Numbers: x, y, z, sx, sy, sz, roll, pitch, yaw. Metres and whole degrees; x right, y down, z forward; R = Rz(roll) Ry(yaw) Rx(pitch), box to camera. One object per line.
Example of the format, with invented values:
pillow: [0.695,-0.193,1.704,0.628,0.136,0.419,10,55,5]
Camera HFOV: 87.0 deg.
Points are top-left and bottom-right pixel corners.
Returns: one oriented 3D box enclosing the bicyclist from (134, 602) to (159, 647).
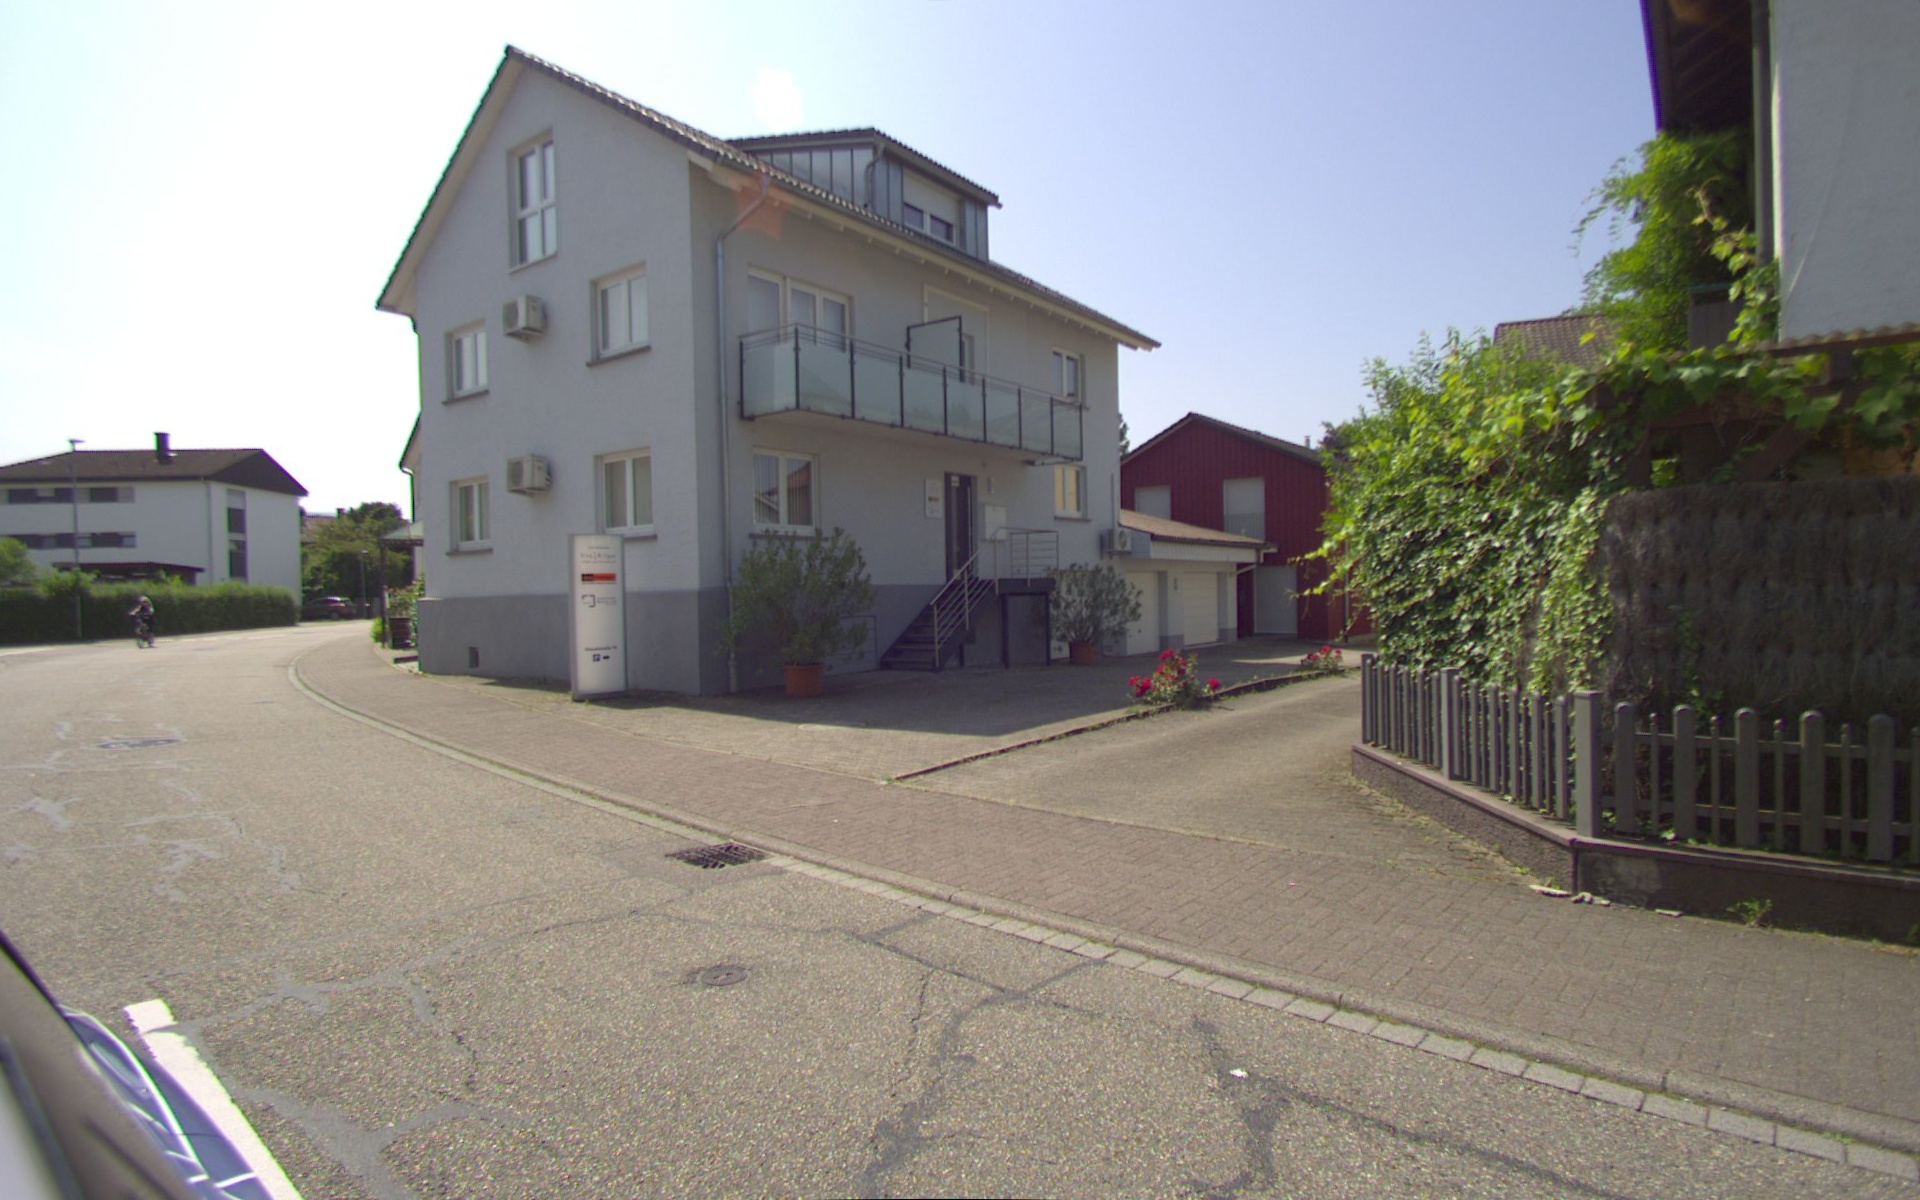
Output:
bicyclist: [-27.587,0.821,34.324,0.538,1.501,0.799,-1,0,-30]

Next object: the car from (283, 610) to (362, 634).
car: [-44.766,1.529,71.136,4.222,1.684,2.070,0,0,-11]

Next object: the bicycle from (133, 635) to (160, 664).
bicycle: [-27.576,1.666,34.320,0.513,0.911,1.317,-1,0,-30]
